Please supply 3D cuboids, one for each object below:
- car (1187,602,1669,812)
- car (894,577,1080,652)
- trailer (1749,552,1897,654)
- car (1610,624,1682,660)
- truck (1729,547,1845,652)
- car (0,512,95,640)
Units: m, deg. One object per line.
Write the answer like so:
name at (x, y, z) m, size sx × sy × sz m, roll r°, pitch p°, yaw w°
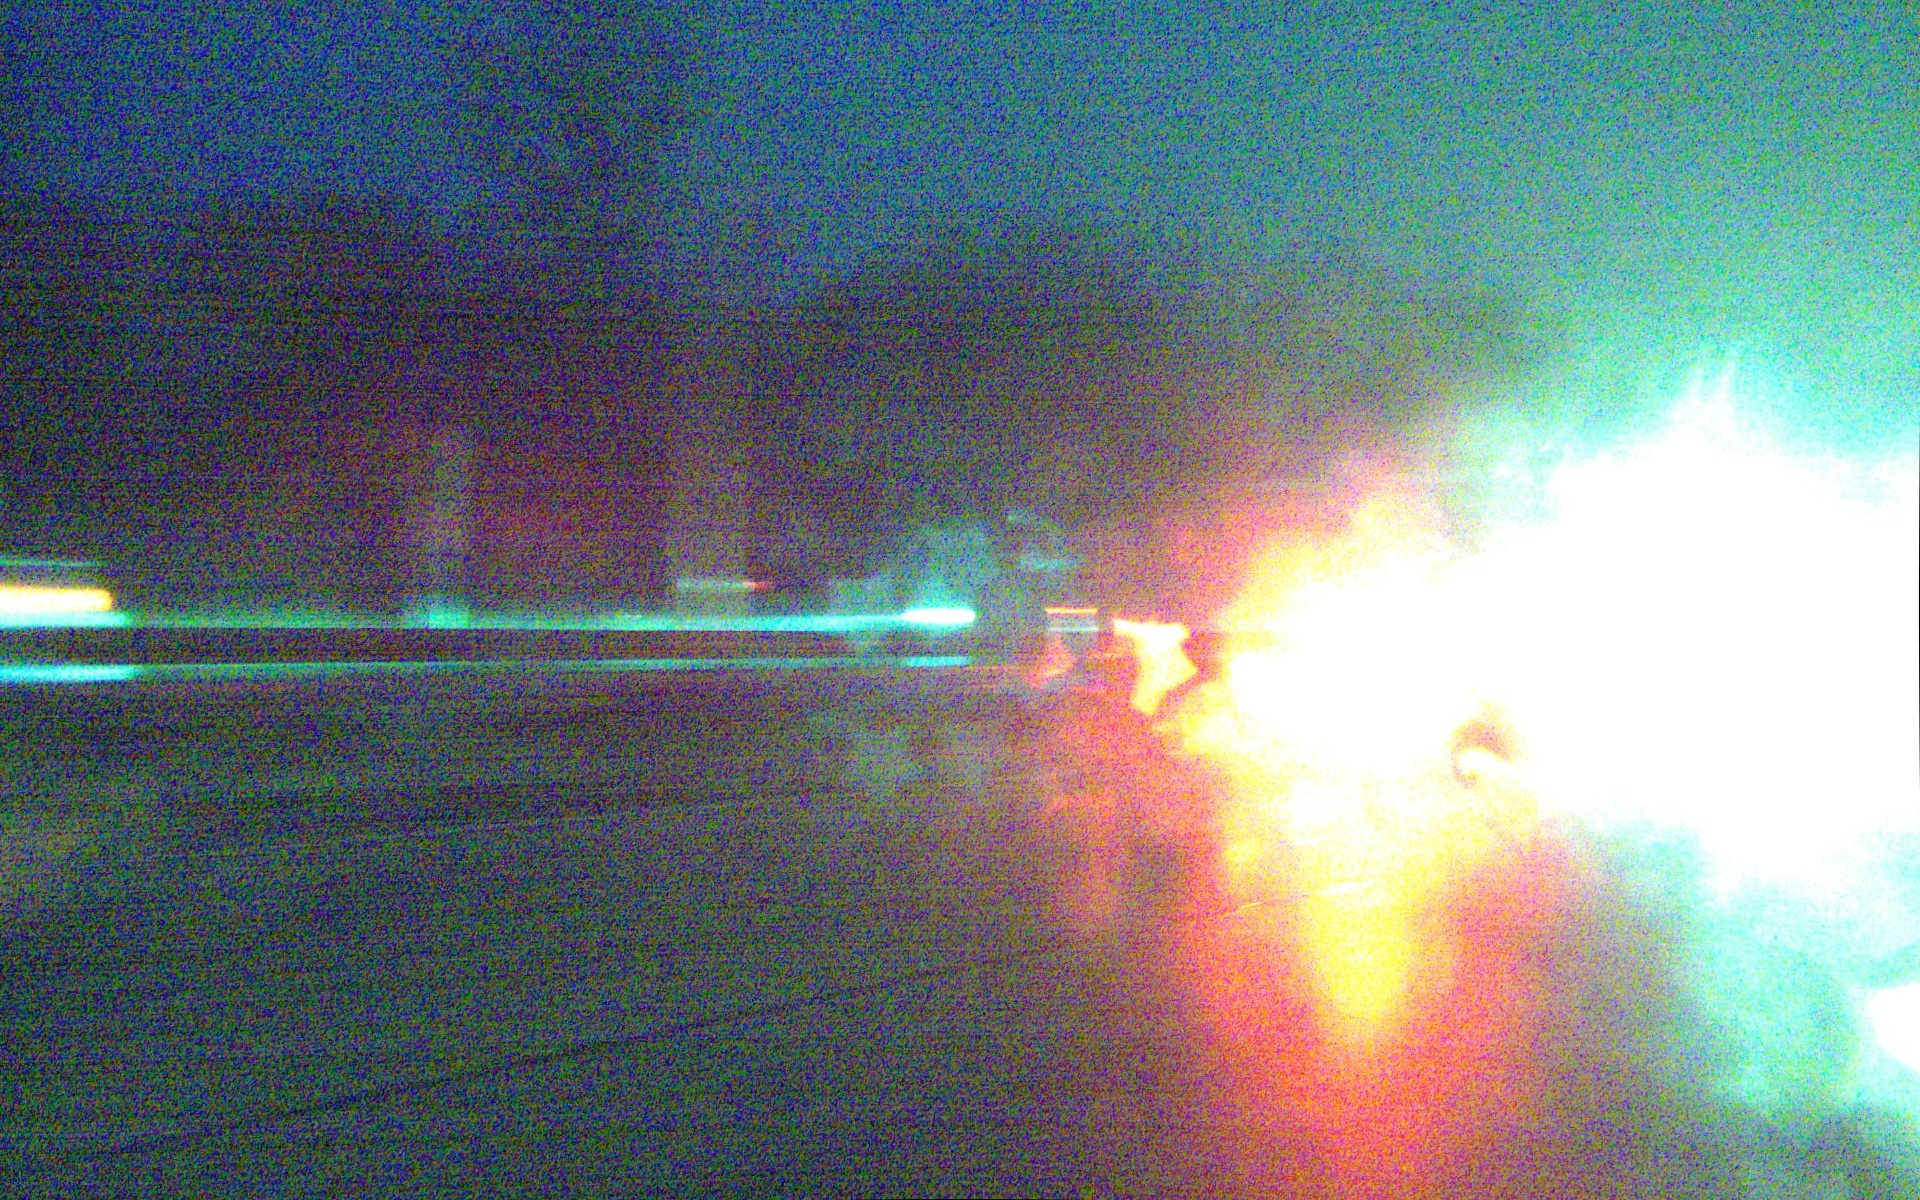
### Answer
car at (4.593, 0.879, 9.597) m, size 4.859 × 1.537 × 1.758 m, roll 2°, pitch 0°, yaw -32°
car at (0.714, 0.377, 24.852) m, size 4.288 × 1.669 × 1.830 m, roll 3°, pitch 0°, yaw -34°
trailer at (42.679, 0.282, 49.469) m, size 12.373 × 4.516 × 2.557 m, roll 3°, pitch 1°, yaw -36°
car at (35.832, 2.196, 52.440) m, size 3.964 × 1.751 × 1.978 m, roll 3°, pitch 0°, yaw -38°
truck at (37.823, 0.027, 45.884) m, size 5.795 × 4.463 × 2.547 m, roll 2°, pitch 1°, yaw -36°
car at (-14.007, -0.338, 12.860) m, size 4.149 × 1.633 × 1.799 m, roll 0°, pitch 1°, yaw -30°
